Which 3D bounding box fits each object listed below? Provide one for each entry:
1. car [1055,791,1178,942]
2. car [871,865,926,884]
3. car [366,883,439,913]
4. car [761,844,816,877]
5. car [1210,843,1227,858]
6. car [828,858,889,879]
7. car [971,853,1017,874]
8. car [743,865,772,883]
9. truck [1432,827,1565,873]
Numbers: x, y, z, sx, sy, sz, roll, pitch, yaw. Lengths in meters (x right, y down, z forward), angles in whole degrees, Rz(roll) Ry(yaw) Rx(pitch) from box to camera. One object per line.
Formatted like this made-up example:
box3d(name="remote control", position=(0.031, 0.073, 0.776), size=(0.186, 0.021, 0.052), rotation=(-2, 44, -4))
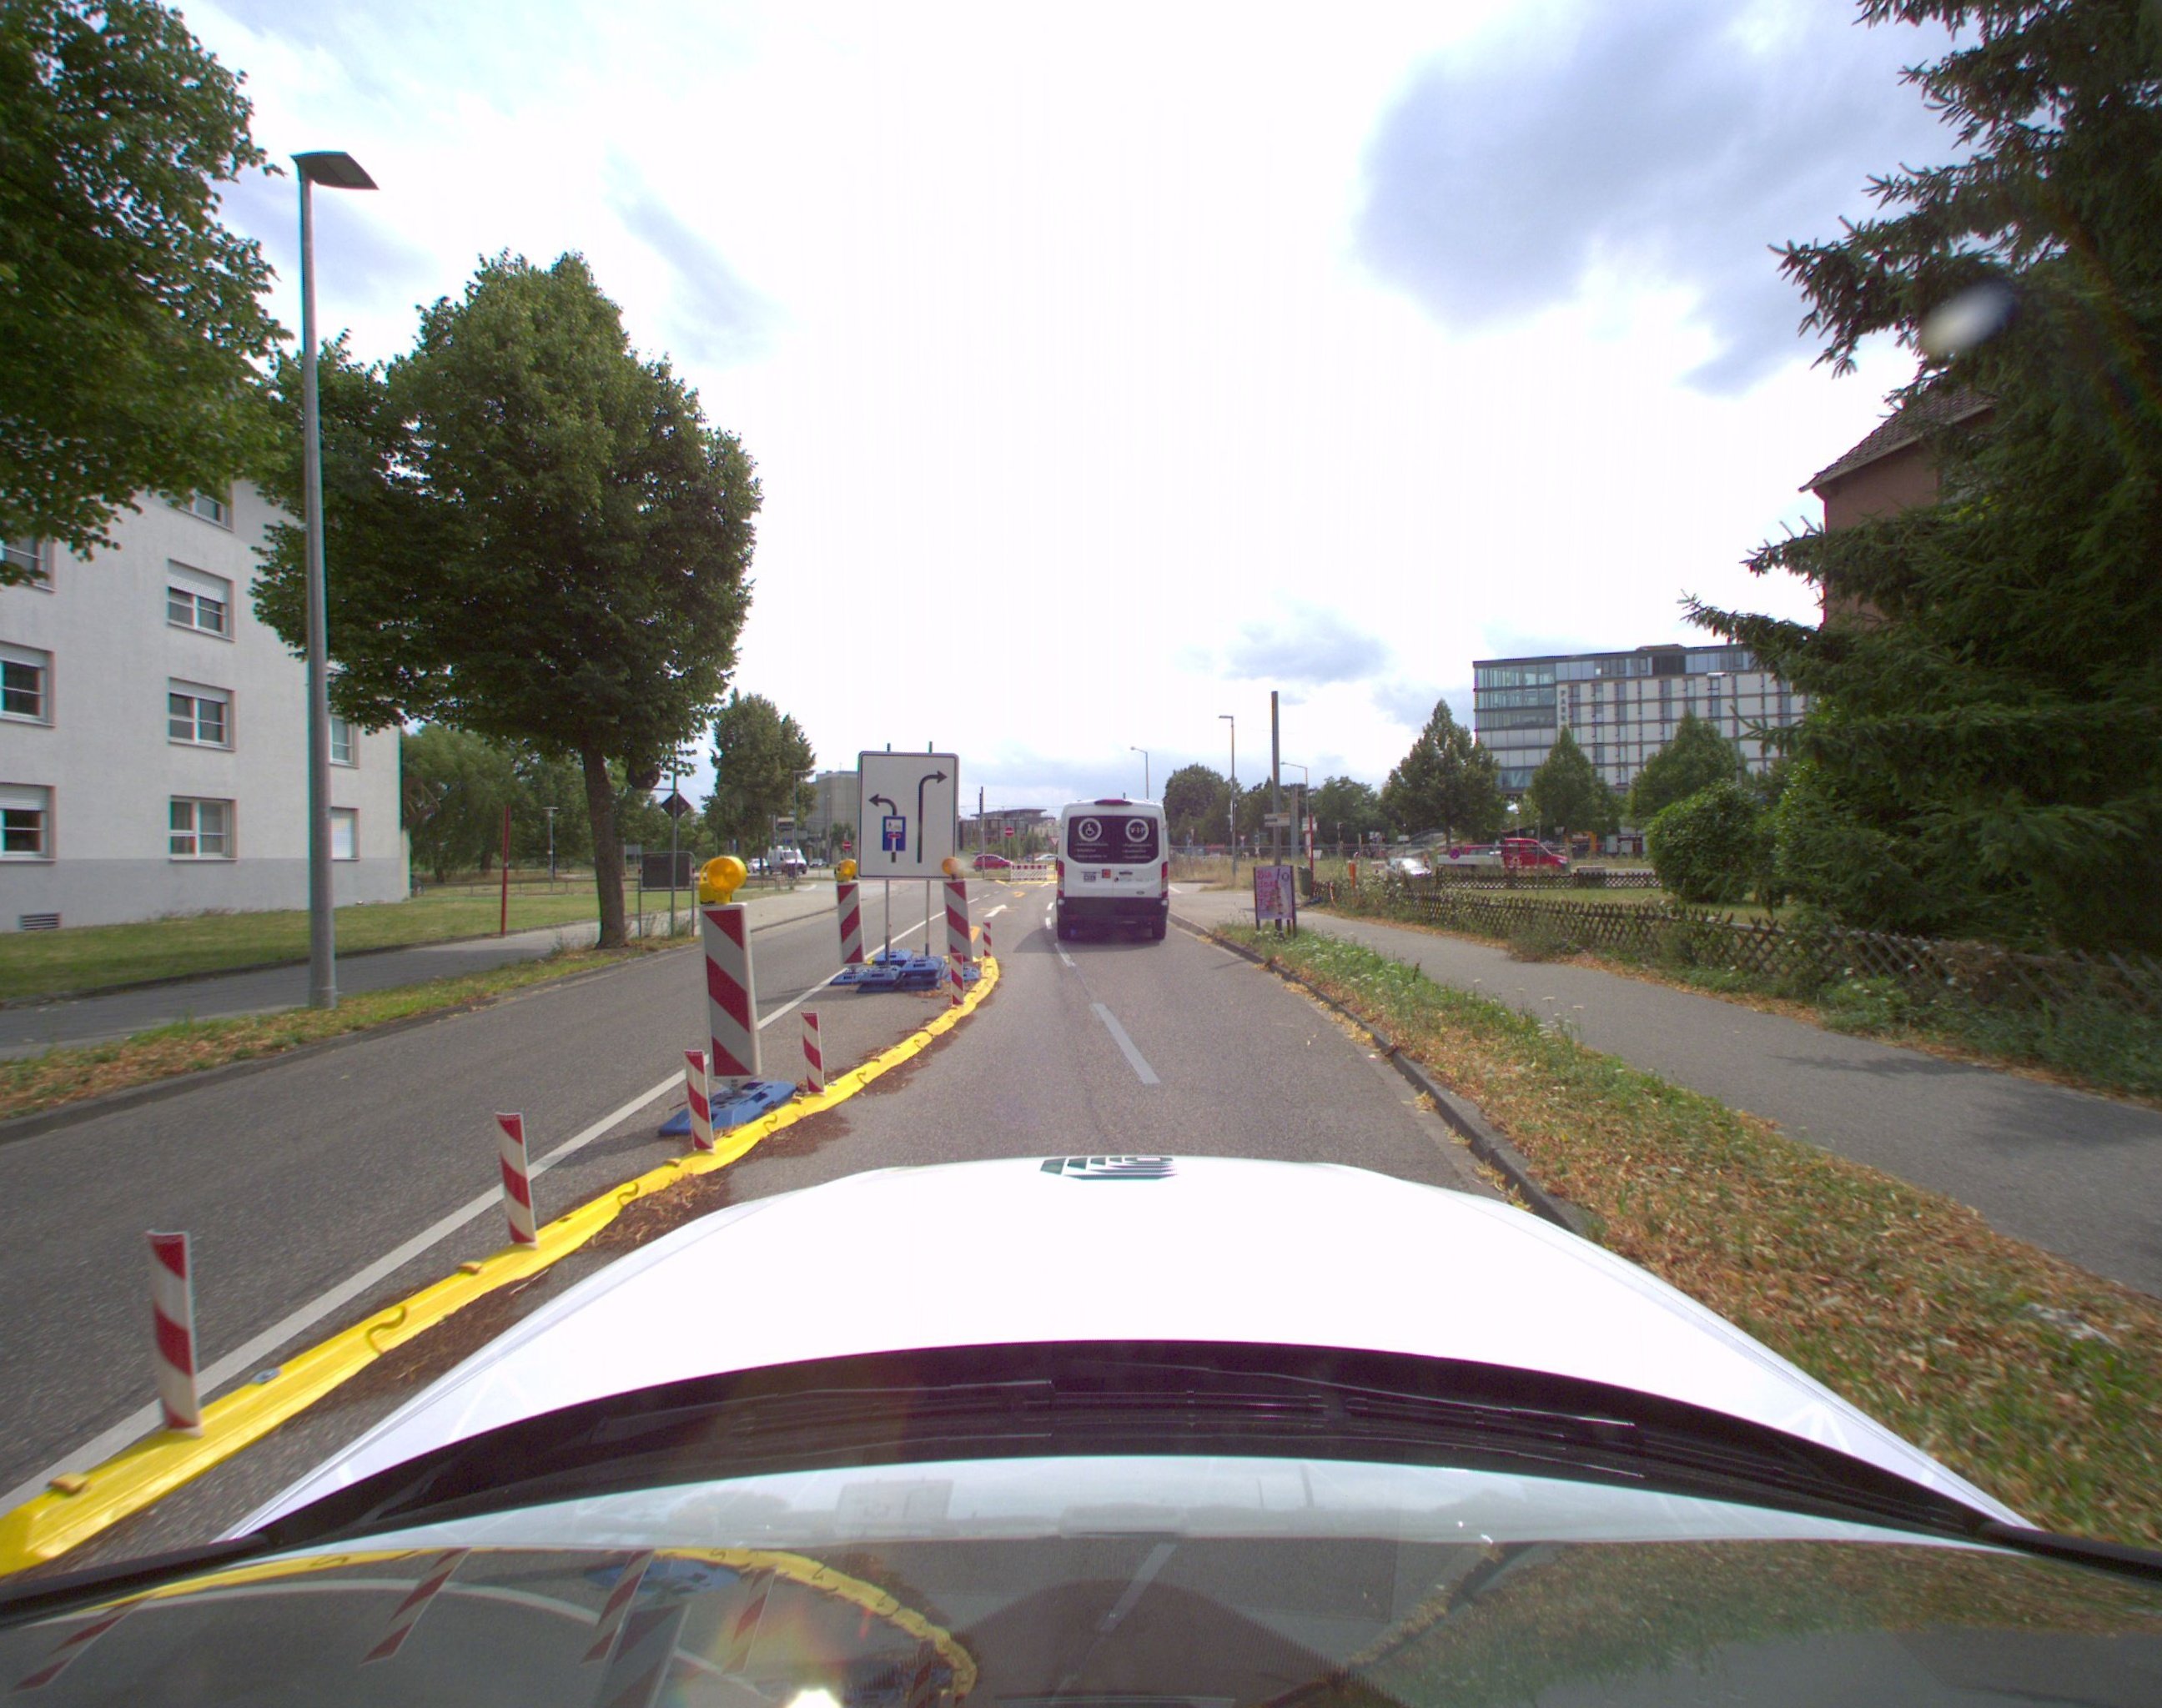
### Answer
box3d(name="car", position=(0.630, 0.236, 15.917), size=(2.056, 2.540, 4.000), rotation=(-1, -1, 0))
box3d(name="car", position=(-15.302, 1.688, 68.431), size=(4.303, 1.354, 1.631), rotation=(-3, 0, 23))
box3d(name="car", position=(-40.539, 2.610, 48.762), size=(1.659, 1.477, 3.624), rotation=(-2, 0, -8))
box3d(name="car", position=(-27.264, 0.629, 75.822), size=(2.634, 2.851, 5.605), rotation=(-3, 0, -43))
box3d(name="car", position=(17.935, -0.481, 106.369), size=(1.994, 1.816, 4.426), rotation=(-3, 0, 11))
box3d(name="car", position=(-16.865, 1.087, 61.652), size=(4.206, 1.478, 1.787), rotation=(-1, 0, 22))
box3d(name="car", position=(-7.870, 0.889, 73.692), size=(3.980, 1.662, 1.888), rotation=(-3, 0, -5))
box3d(name="car", position=(-33.620, 2.066, 84.531), size=(1.899, 1.662, 3.957), rotation=(-3, 0, -34))
box3d(name="truck", position=(23.845, -0.197, 46.767), size=(6.599, 2.426, 2.549), rotation=(-1, 0, 27))
